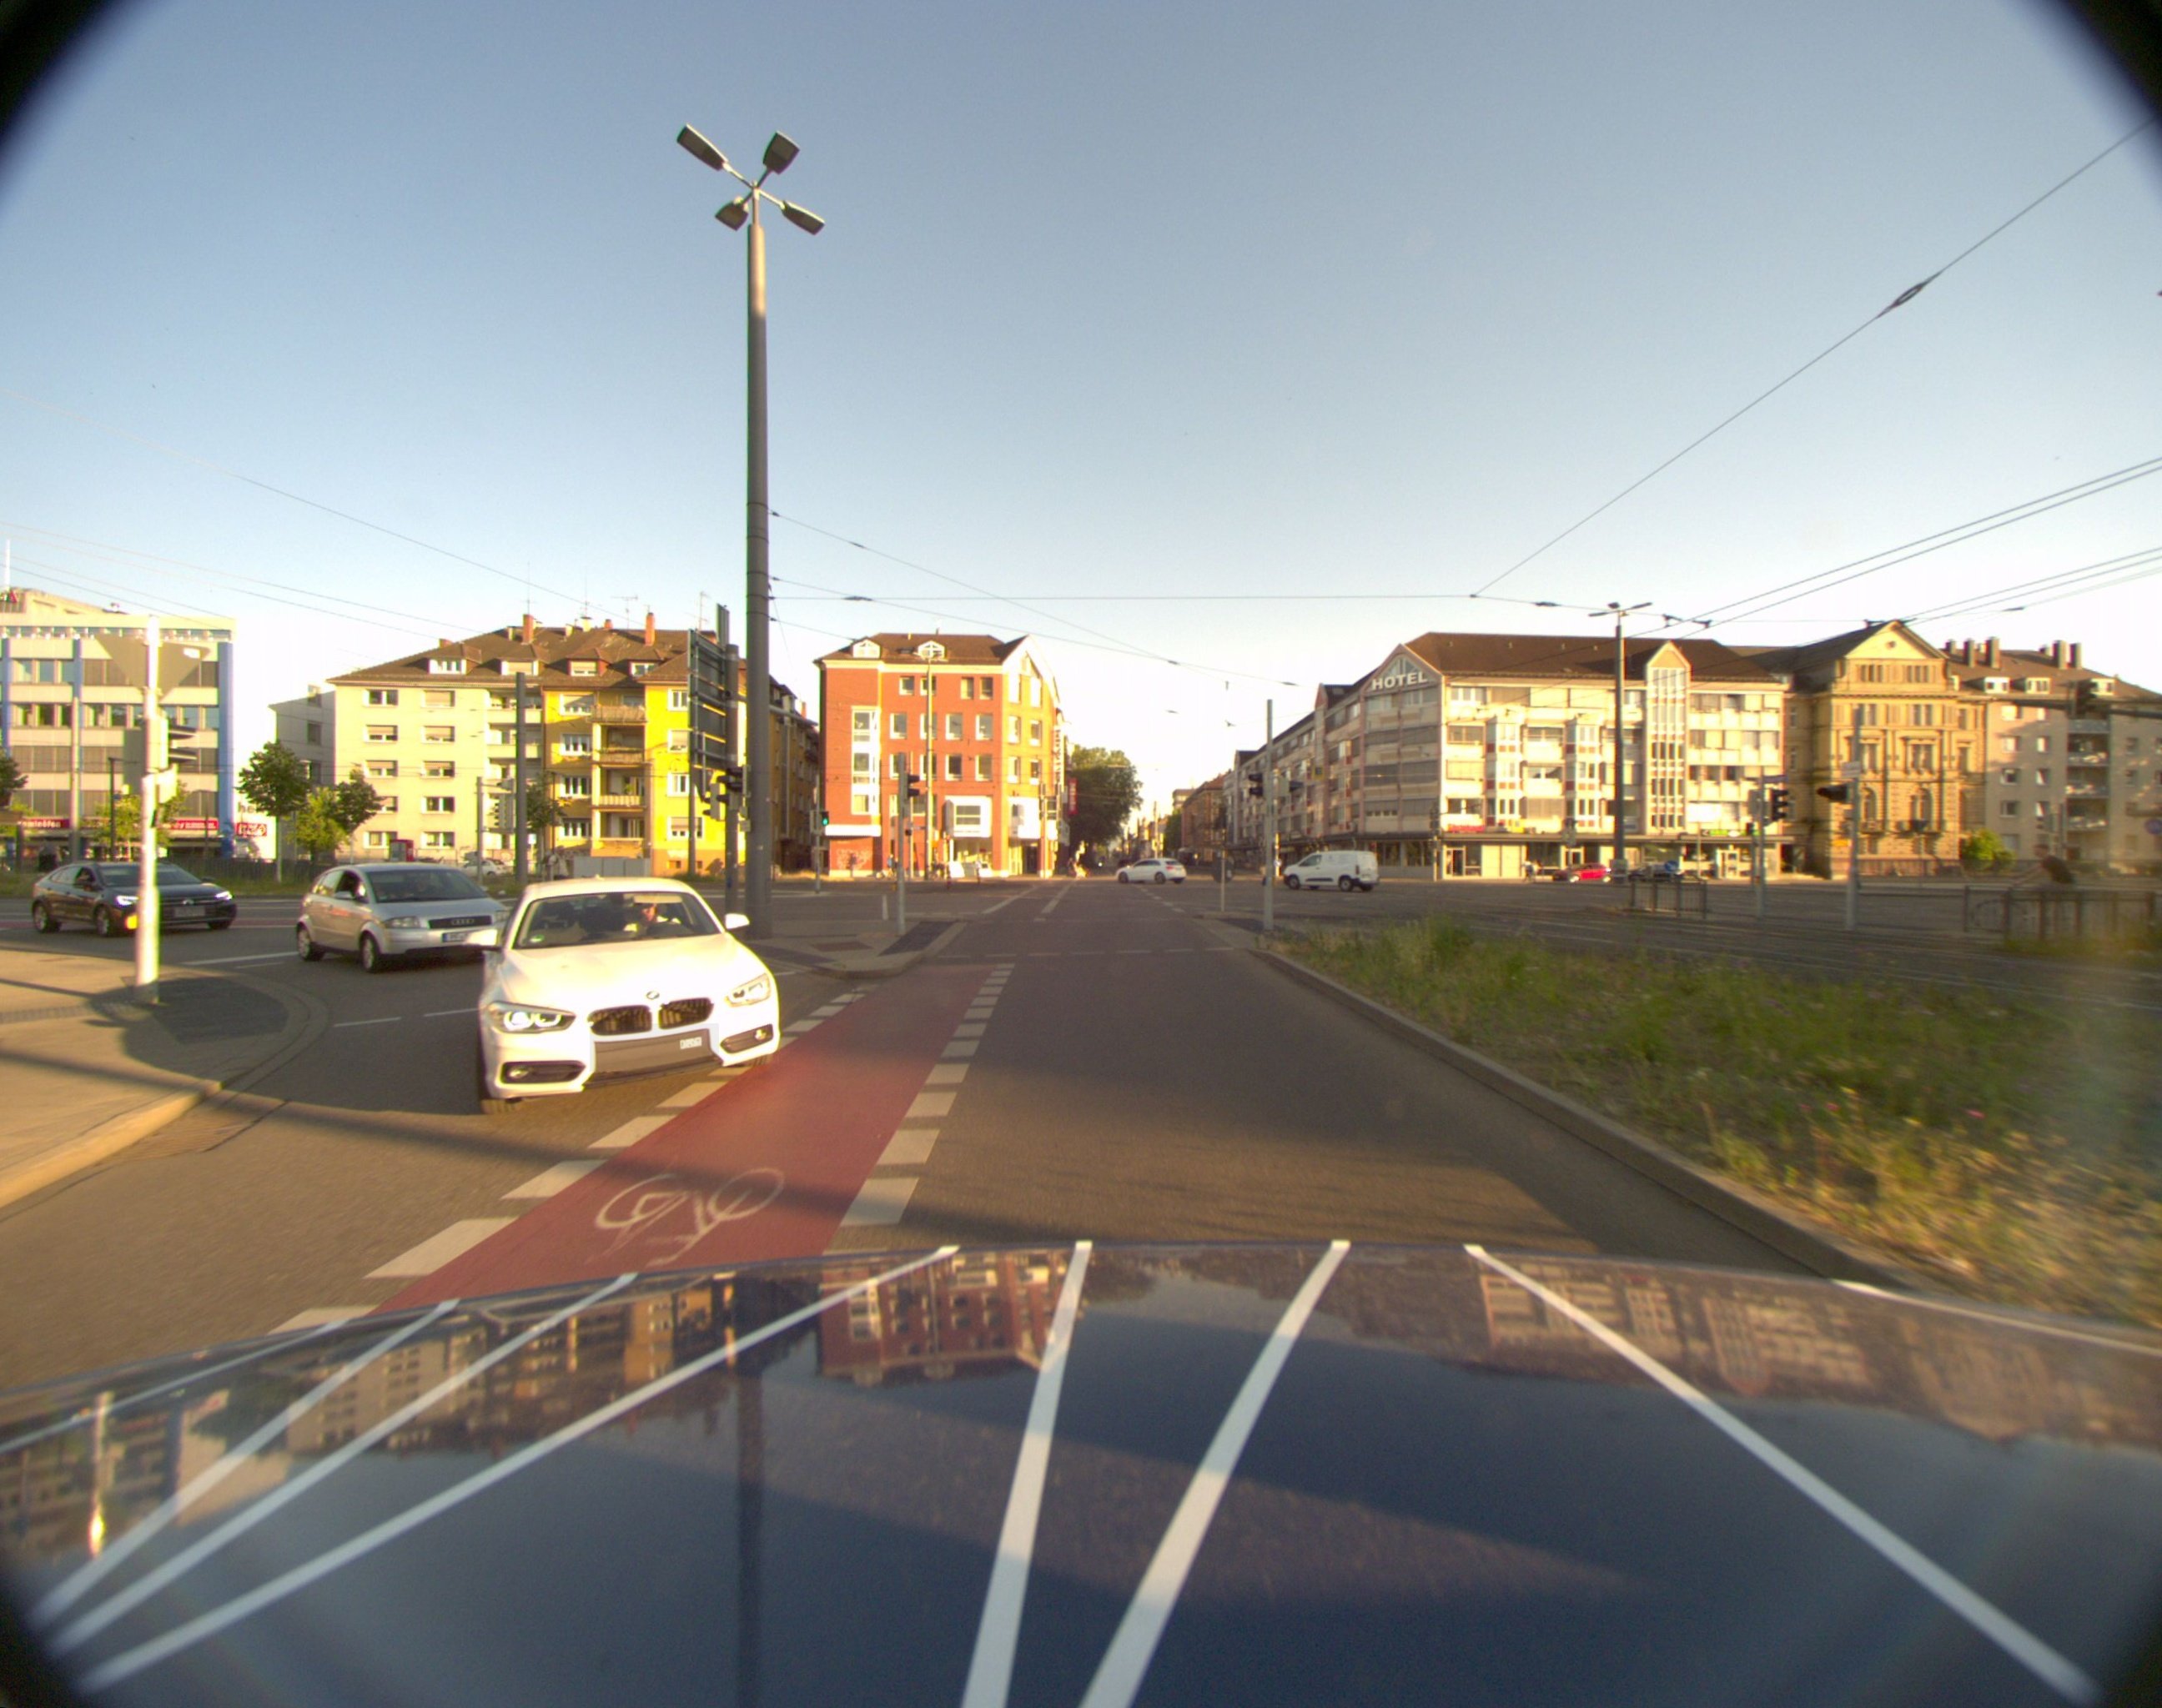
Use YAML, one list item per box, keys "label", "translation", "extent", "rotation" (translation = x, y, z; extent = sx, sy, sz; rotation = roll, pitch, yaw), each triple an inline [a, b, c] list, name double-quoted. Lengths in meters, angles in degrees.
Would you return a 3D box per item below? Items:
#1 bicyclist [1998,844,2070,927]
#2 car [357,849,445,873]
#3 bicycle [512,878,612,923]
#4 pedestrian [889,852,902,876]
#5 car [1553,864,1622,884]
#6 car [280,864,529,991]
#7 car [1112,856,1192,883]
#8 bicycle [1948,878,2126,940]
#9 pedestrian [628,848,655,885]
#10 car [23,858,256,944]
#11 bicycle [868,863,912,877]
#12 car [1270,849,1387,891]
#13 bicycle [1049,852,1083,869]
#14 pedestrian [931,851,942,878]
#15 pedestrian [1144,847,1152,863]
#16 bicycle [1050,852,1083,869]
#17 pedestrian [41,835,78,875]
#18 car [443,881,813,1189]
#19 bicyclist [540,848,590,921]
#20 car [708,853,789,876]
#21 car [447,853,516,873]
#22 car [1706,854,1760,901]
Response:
- label: "bicyclist"
  translation: [18.781, 0.602, 14.977]
  extent: [0.738, 1.602, 0.698]
  rotation: [0, 1, -24]
- label: "car"
  translation: [-48.924, 0.479, 54.759]
  extent: [4.348, 1.695, 2.118]
  rotation: [0, 0, -5]
- label: "bicycle"
  translation: [-12.044, 1.071, 17.672]
  extent: [1.847, 1.017, 0.596]
  rotation: [0, 0, -6]
- label: "pedestrian"
  translation: [-13.841, 0.753, 56.788]
  extent: [0.873, 1.768, 0.916]
  rotation: [0, 1, -10]
- label: "car"
  translation: [36.268, 1.429, 54.427]
  extent: [3.895, 1.414, 1.648]
  rotation: [1, 0, -5]
- label: "car"
  translation: [-10.413, 0.995, 11.662]
  extent: [3.716, 1.552, 1.684]
  rotation: [1, 3, 29]
- label: "car"
  translation: [4.078, 0.862, 44.102]
  extent: [1.820, 1.440, 4.549]
  rotation: [-1, 1, -45]
- label: "bicycle"
  translation: [18.775, 1.041, 14.994]
  extent: [0.758, 1.069, 2.053]
  rotation: [0, 0, -24]
- label: "pedestrian"
  translation: [-18.303, 0.507, 31.638]
  extent: [0.635, 1.532, 0.708]
  rotation: [1, 1, 15]
- label: "car"
  translation: [-20.309, 0.908, 16.399]
  extent: [4.381, 1.608, 1.947]
  rotation: [1, 1, 22]
- label: "bicycle"
  translation: [-13.999, 1.147, 55.834]
  extent: [3.064, 1.011, 0.931]
  rotation: [0, 0, -9]
- label: "car"
  translation: [11.404, 0.678, 35.304]
  extent: [2.005, 1.827, 4.862]
  rotation: [0, 0, -37]
- label: "bicycle"
  translation: [-1.471, 0.626, 75.413]
  extent: [3.305, 1.716, 1.069]
  rotation: [1, 1, 1]
- label: "pedestrian"
  translation: [-9.021, 0.640, 47.472]
  extent: [0.418, 1.698, 0.516]
  rotation: [1, 1, 26]
- label: "pedestrian"
  translation: [8.247, 0.144, 93.364]
  extent: [0.810, 2.002, 0.678]
  rotation: [0, 1, -3]
- label: "bicycle"
  translation: [-1.449, 0.652, 76.583]
  extent: [3.305, 1.716, 1.069]
  rotation: [1, 1, -1]
- label: "pedestrian"
  translation: [-40.894, 0.025, 30.421]
  extent: [0.690, 1.581, 0.566]
  rotation: [1, 0, 1]
- label: "car"
  translation: [-3.897, 1.043, 6.306]
  extent: [1.920, 1.397, 4.292]
  rotation: [-1, 1, -37]
- label: "bicyclist"
  translation: [-11.996, 0.689, 17.665]
  extent: [0.748, 1.661, 0.595]
  rotation: [0, 1, -7]
- label: "car"
  translation: [-22.748, 0.690, 52.158]
  extent: [4.700, 1.495, 1.917]
  rotation: [1, 0, -2]
- label: "car"
  translation: [-43.551, 0.658, 55.273]
  extent: [3.542, 1.412, 1.738]
  rotation: [0, 0, -5]
- label: "car"
  translation: [44.866, 1.664, 52.278]
  extent: [2.219, 1.541, 4.632]
  rotation: [-15, -29, 40]
